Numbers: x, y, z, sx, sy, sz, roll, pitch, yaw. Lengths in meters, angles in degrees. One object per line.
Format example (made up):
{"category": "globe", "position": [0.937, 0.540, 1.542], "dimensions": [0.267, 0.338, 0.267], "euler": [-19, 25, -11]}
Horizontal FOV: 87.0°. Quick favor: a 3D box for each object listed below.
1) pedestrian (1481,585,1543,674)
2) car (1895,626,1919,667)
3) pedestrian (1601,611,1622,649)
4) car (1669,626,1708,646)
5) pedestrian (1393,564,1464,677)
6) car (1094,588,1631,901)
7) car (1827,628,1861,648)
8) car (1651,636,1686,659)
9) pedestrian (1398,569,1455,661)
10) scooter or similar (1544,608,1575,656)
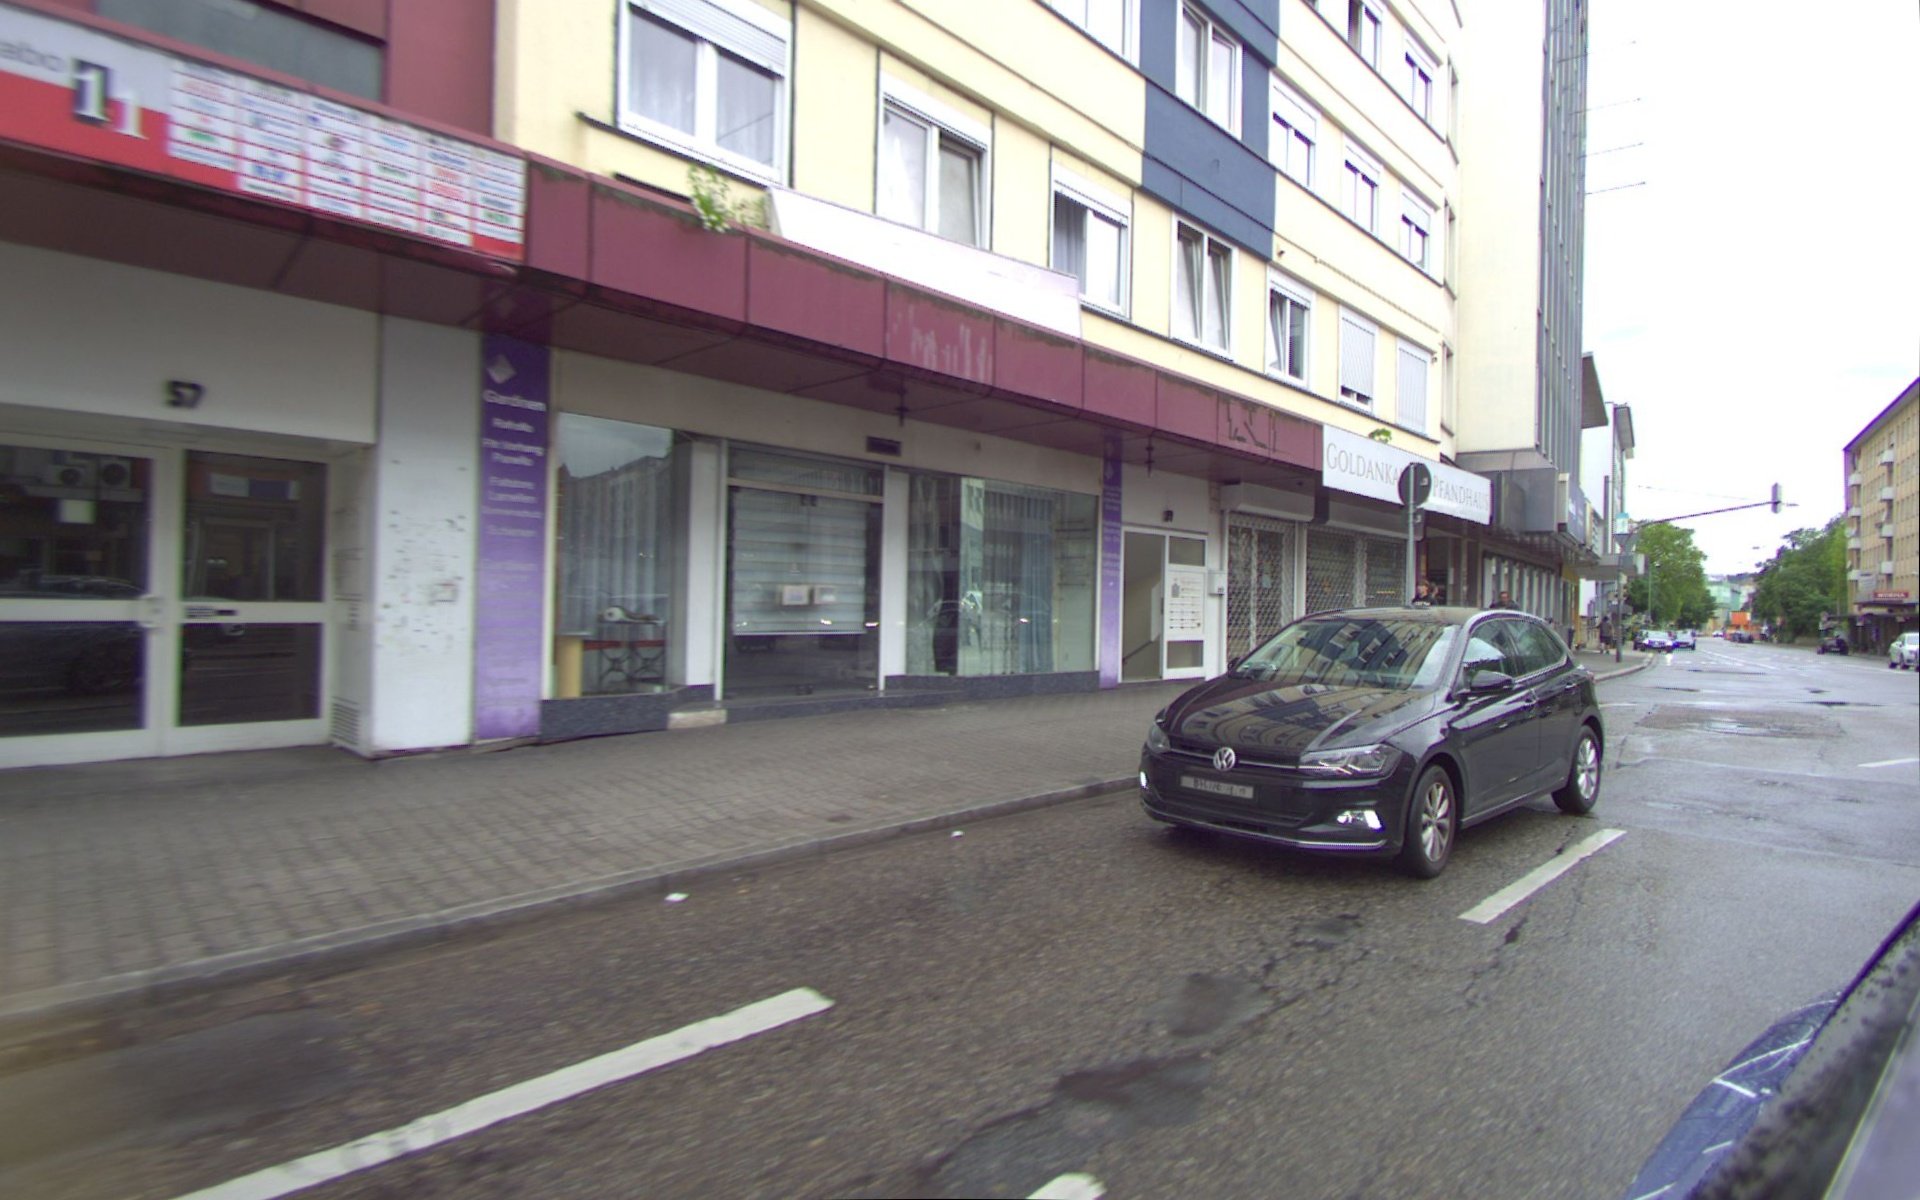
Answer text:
{"category": "pedestrian", "position": [11.109, 0.592, 20.379], "dimensions": [0.738, 1.745, 0.755], "euler": [0, -3, -22]}
{"category": "car", "position": [37.295, 1.745, 38.645], "dimensions": [1.799, 1.518, 3.948], "euler": [-2, -2, 35]}
{"category": "pedestrian", "position": [29.346, 1.343, 45.584], "dimensions": [0.733, 1.667, 0.633], "euler": [-3, -2, 38]}
{"category": "car", "position": [63.865, 3.154, 88.766], "dimensions": [1.978, 1.640, 4.090], "euler": [-1, 0, 24]}
{"category": "pedestrian", "position": [7.752, 0.330, 16.758], "dimensions": [0.835, 1.787, 0.608], "euler": [4, 0, 40]}
{"category": "car", "position": [2.823, 0.669, 6.713], "dimensions": [3.812, 1.449, 1.741], "euler": [-1, 1, -41]}
{"category": "car", "position": [74.582, 3.195, 85.422], "dimensions": [1.818, 1.594, 3.945], "euler": [-2, -3, 38]}
{"category": "car", "position": [47.422, 3.156, 67.781], "dimensions": [1.773, 1.472, 3.950], "euler": [-2, -3, 34]}
{"category": "pedestrian", "position": [9.327, 0.304, 20.240], "dimensions": [0.772, 1.786, 0.618], "euler": [0, -3, -22]}
{"category": "scooter or similar", "position": [17.749, 0.937, 29.963], "dimensions": [1.127, 1.378, 0.377], "euler": [0, -2, -38]}
